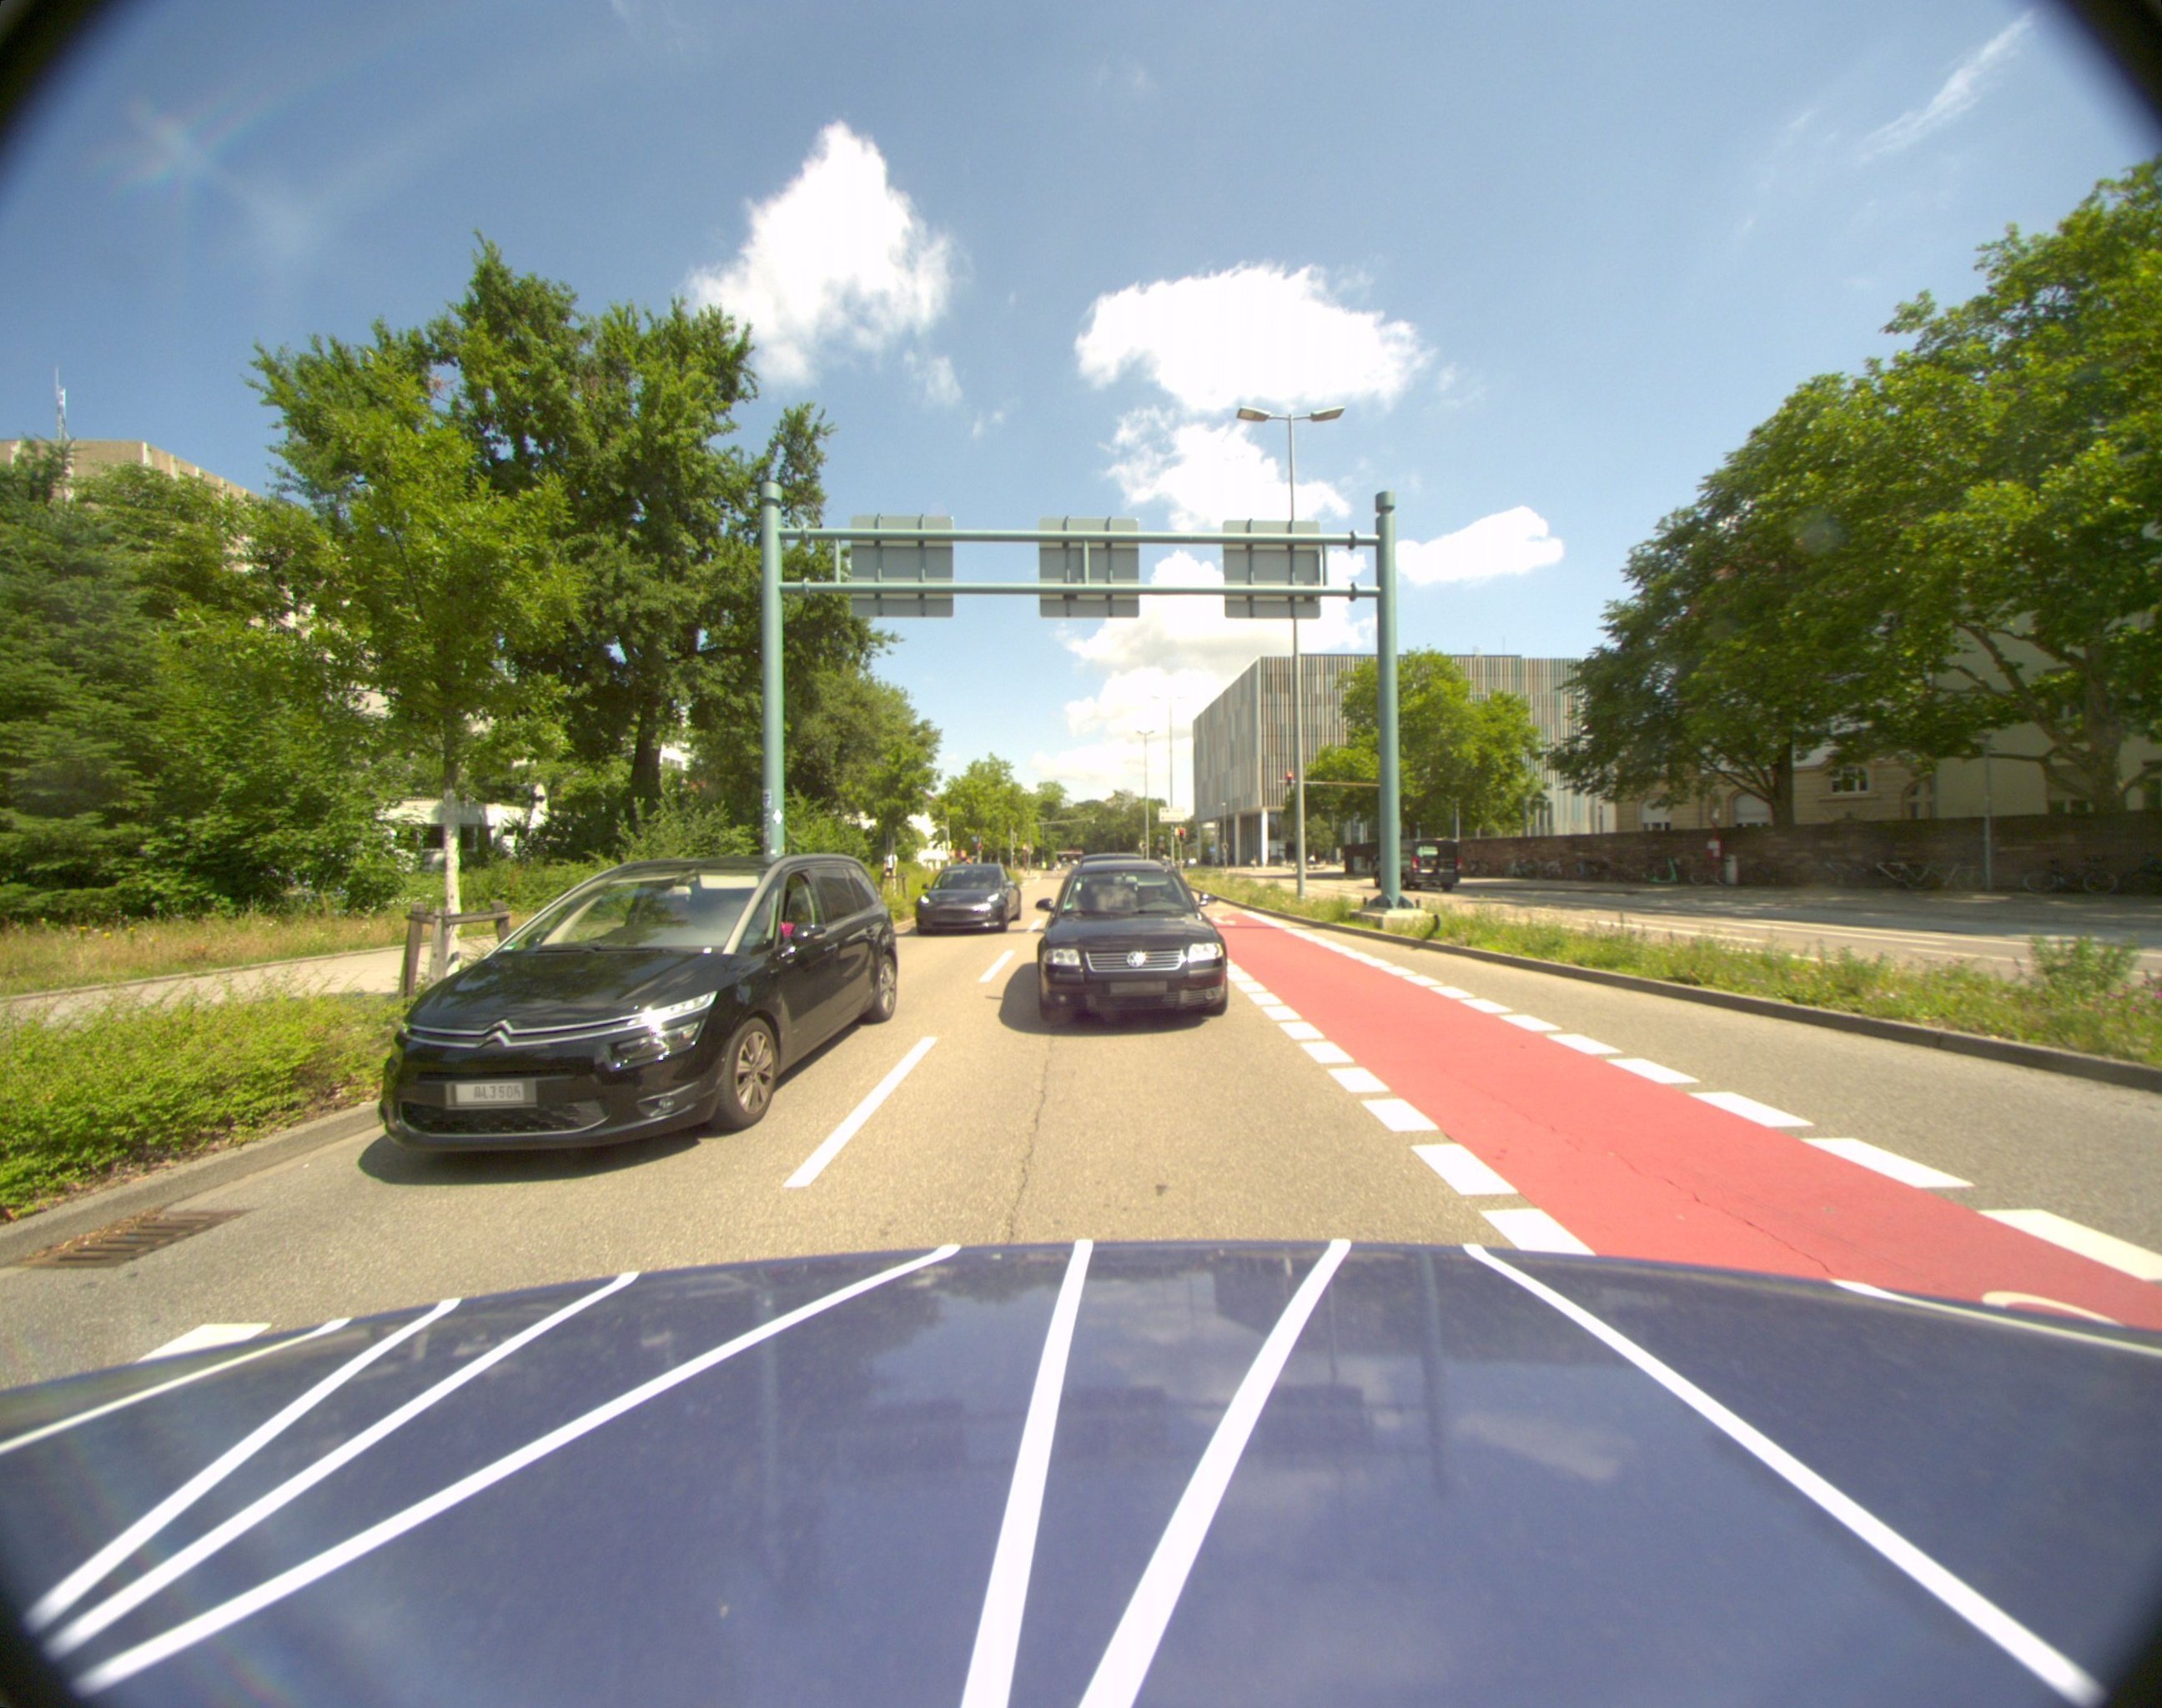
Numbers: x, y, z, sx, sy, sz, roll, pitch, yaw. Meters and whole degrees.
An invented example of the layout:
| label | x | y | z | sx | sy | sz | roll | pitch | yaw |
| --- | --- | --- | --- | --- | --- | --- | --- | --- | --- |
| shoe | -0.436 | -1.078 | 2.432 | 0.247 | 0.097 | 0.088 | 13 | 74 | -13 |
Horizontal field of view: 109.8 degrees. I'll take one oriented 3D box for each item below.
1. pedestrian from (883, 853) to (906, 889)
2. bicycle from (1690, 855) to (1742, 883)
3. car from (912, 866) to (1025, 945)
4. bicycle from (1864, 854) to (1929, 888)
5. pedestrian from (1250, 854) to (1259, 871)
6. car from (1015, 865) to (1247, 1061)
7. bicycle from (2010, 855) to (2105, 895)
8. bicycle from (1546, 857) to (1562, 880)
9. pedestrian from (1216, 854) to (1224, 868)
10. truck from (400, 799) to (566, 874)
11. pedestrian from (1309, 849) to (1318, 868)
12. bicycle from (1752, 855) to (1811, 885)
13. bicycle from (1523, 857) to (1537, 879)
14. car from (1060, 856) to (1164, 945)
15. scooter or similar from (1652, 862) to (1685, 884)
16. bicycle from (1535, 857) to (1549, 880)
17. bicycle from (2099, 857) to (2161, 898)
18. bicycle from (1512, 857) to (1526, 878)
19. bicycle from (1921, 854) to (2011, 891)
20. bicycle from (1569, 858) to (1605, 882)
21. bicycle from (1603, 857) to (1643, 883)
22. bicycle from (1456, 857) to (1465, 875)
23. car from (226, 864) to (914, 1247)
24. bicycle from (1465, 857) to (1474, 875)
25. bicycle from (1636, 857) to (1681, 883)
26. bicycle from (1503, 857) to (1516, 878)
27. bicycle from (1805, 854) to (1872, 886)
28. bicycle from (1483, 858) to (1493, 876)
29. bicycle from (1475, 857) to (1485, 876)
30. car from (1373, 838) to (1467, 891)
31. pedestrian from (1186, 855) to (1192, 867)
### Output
| label | x | y | z | sx | sy | sz | roll | pitch | yaw |
| --- | --- | --- | --- | --- | --- | --- | --- | --- | --- |
| pedestrian | -9.147 | 0.824 | 37.248 | 0.844 | 1.755 | 0.841 | -2 | 1 | 1 |
| bicycle | 24.717 | 0.570 | 29.596 | 0.383 | 1.037 | 1.668 | -1 | 0 | -11 |
| car | -2.362 | 1.037 | 17.059 | 1.765 | 1.409 | 4.364 | -3 | 0 | 1 |
| bicycle | 25.910 | 0.524 | 24.159 | 0.377 | 1.037 | 1.415 | -1 | 0 | -13 |
| pedestrian | 19.990 | 0.984 | 87.471 | 0.715 | 1.906 | 0.807 | -2 | 1 | -5 |
| car | 0.463 | 0.894 | 8.239 | 1.751 | 1.426 | 4.521 | -3 | 0 | 2 |
| bicycle | 26.708 | 0.558 | 20.809 | 0.398 | 1.037 | 1.582 | -1 | 0 | -13 |
| bicycle | 23.435 | 0.715 | 37.667 | 0.382 | 1.101 | 1.673 | -1 | 0 | 22 |
| pedestrian | 19.980 | 1.036 | 109.326 | 0.825 | 1.906 | 0.807 | -2 | 1 | -5 |
| truck | -26.852 | -0.740 | 34.633 | 2.098 | 3.005 | 7.122 | -2 | 1 | -3 |
| pedestrian | 23.988 | 0.476 | 78.498 | 0.632 | 1.907 | 0.718 | -2 | 1 | -2 |
| bicycle | 25.258 | 0.575 | 27.436 | 0.383 | 1.037 | 1.668 | -1 | 0 | -11 |
| bicycle | 23.213 | 0.709 | 39.287 | 0.382 | 1.101 | 1.673 | -1 | 0 | 22 |
| car | 0.623 | 0.835 | 15.699 | 1.751 | 1.495 | 4.521 | -3 | 0 | 2 |
| scooter or similar | 23.924 | 0.771 | 30.964 | 0.353 | 0.838 | 1.068 | -1 | 0 | -12 |
| bicycle | 23.306 | 0.712 | 38.425 | 0.382 | 1.101 | 1.673 | -1 | 0 | 22 |
| bicycle | 27.106 | 0.589 | 19.119 | 0.398 | 0.997 | 1.759 | -1 | 0 | -13 |
| bicycle | 23.114 | 0.704 | 40.104 | 0.382 | 1.101 | 1.673 | -1 | 0 | 22 |
| bicycle | 26.273 | 0.527 | 22.596 | 0.398 | 1.037 | 1.759 | -1 | 0 | -13 |
| bicycle | 23.885 | 0.730 | 35.882 | 0.382 | 1.101 | 1.669 | -1 | 0 | -8 |
| bicycle | 24.130 | 0.699 | 33.865 | 0.383 | 1.101 | 1.669 | -1 | 0 | -10 |
| bicycle | 22.493 | 0.697 | 45.002 | 0.329 | 1.012 | 1.673 | -1 | 0 | 22 |
| car | -2.815 | 0.949 | 5.681 | 1.862 | 1.613 | 4.521 | -3 | 0 | 3 |
| bicycle | 22.618 | 0.701 | 44.270 | 0.329 | 1.012 | 1.673 | -1 | 0 | 22 |
| bicycle | 24.430 | 0.663 | 32.191 | 0.383 | 1.101 | 1.668 | -1 | 0 | -11 |
| bicycle | 22.858 | 0.709 | 40.544 | 0.382 | 1.101 | 1.673 | -1 | 0 | 22 |
| bicycle | 25.594 | 0.522 | 25.694 | 0.383 | 1.037 | 1.668 | -1 | 0 | -11 |
| bicycle | 22.840 | 0.719 | 42.626 | 0.329 | 1.012 | 1.673 | -1 | 0 | 22 |
| bicycle | 22.741 | 0.709 | 43.340 | 0.329 | 1.012 | 1.673 | -1 | 0 | 22 |
| car | 14.825 | 0.430 | 33.513 | 2.214 | 2.158 | 4.521 | 0 | 0 | 2 |
| pedestrian | 16.730 | 1.068 | 117.734 | 0.715 | 1.906 | 0.807 | -2 | 1 | -5 |
